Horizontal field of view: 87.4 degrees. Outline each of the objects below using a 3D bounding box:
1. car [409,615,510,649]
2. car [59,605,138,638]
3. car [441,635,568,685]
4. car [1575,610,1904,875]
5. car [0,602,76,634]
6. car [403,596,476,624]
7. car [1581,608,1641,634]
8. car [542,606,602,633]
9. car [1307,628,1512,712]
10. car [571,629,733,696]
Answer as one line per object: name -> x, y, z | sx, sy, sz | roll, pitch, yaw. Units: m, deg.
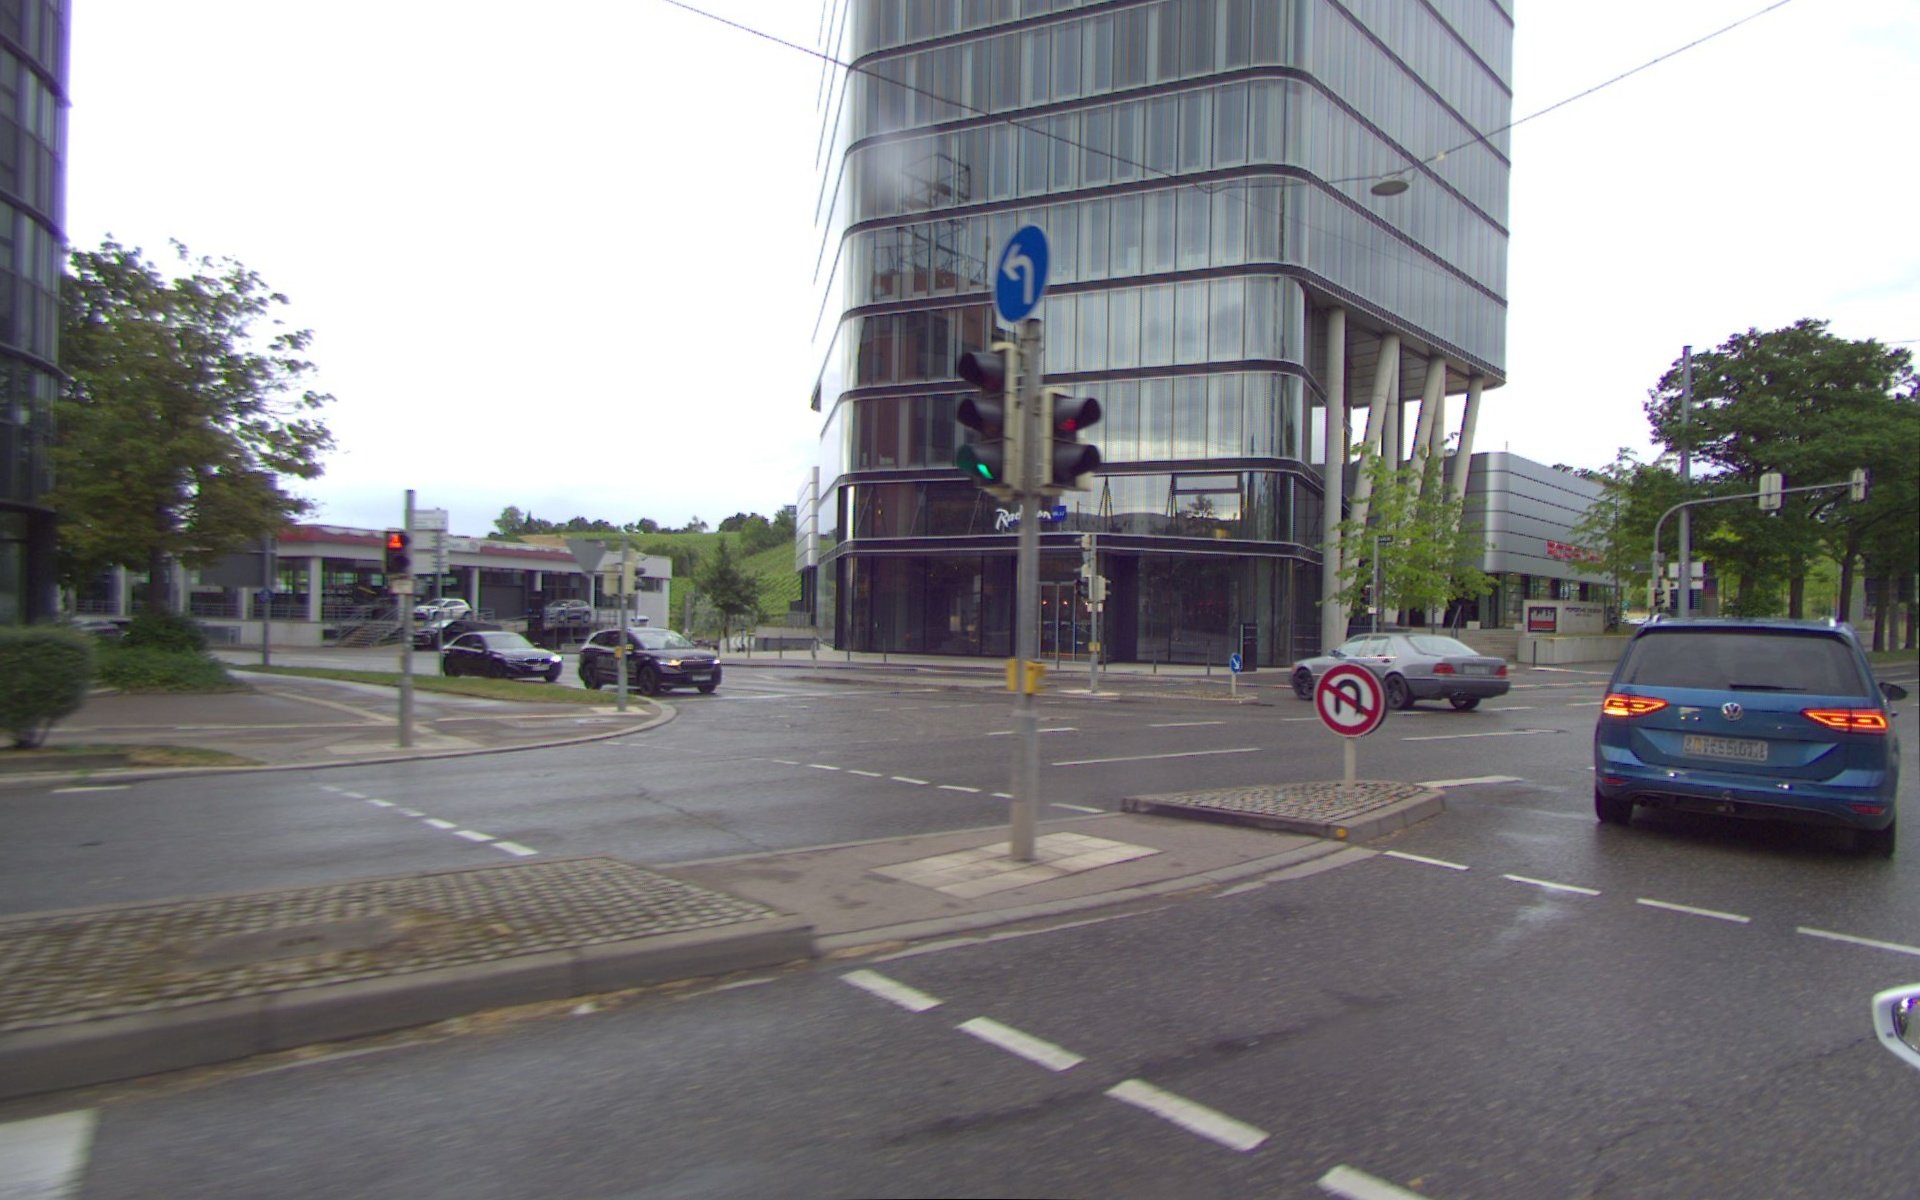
car -> -28.252, 1.818, 56.869 | 1.765, 1.839, 4.997 | 0, -2, 27
car -> -51.569, 1.289, 60.130 | 3.923, 1.929, 1.999 | 0, -1, 23
car -> -13.465, 1.716, 29.642 | 3.938, 1.380, 1.845 | -1, -3, 39
car -> 6.542, 0.944, 8.315 | 1.753, 1.617, 4.175 | 0, -2, 42
car -> -57.122, 1.095, 62.230 | 3.923, 1.929, 1.999 | 0, -1, 23
car -> -33.028, 0.630, 63.858 | 1.782, 1.672, 3.815 | 0, -2, 23
car -> 52.787, 1.668, 81.430 | 3.938, 2.040, 1.991 | 0, -1, 39
car -> -28.062, 1.424, 72.780 | 1.765, 1.874, 3.999 | 0, -2, 23
car -> 9.138, 1.372, 20.814 | 1.821, 1.530, 4.038 | 1, -2, -13
car -> -7.804, 1.518, 25.294 | 4.307, 1.530, 1.848 | -2, -2, 40
